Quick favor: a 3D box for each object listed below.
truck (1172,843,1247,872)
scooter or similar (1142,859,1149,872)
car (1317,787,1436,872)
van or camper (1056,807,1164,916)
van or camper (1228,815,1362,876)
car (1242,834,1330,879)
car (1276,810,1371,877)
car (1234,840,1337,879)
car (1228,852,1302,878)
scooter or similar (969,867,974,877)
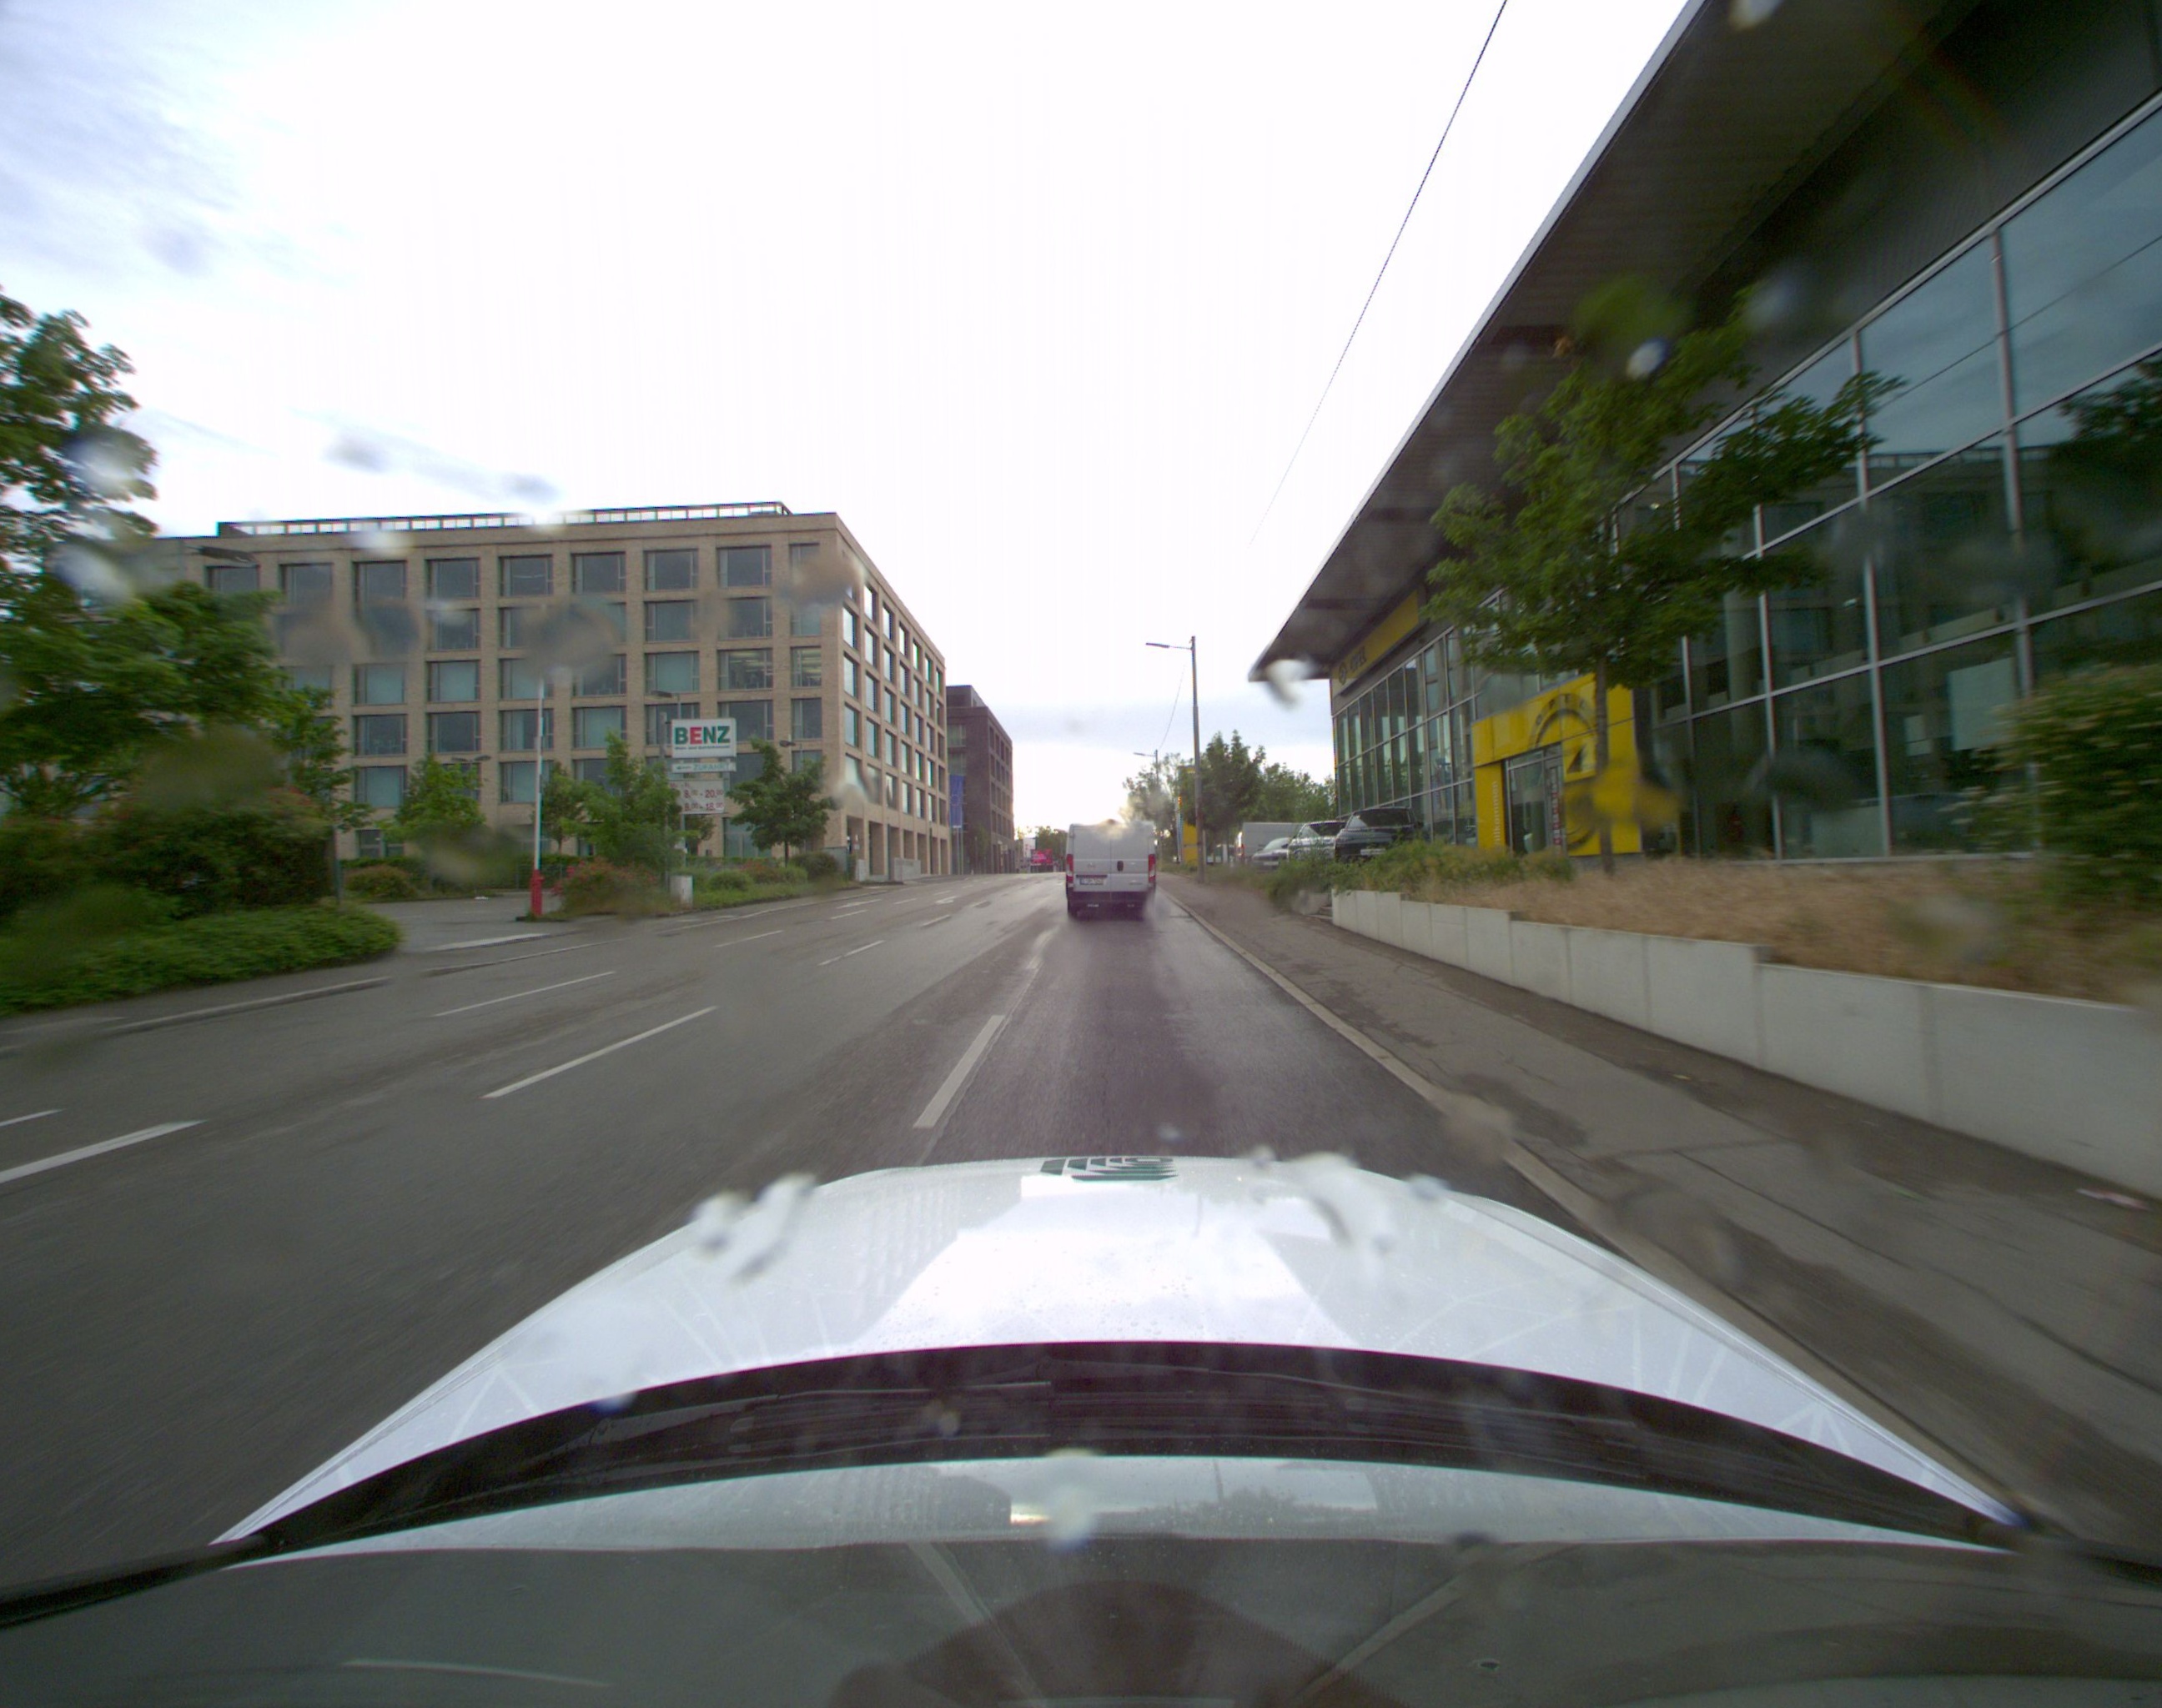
[{"bbox_3d":[9.326,0.231,59.373,5.131,2.013,2.345,-1,0,-1],"label":"truck"},{"bbox_3d":[7.594,1.328,95.966,0.436,1.564,1.264,0,-1,-20],"label":"scooter or similar"},{"bbox_3d":[7.268,-0.515,19.735,1.974,1.711,4.455,-4,-2,28],"label":"car"},{"bbox_3d":[0.771,0.173,20.443,2.330,2.357,5.203,-1,0,3],"label":"van or camper"},{"bbox_3d":[10.018,-0.384,38.479,5.715,2.724,2.353,-1,0,1],"label":"van or camper"},{"bbox_3d":[7.601,0.091,29.841,1.891,1.454,4.600,-4,-2,30],"label":"car"},{"bbox_3d":[7.387,-0.272,24.523,1.975,1.711,4.604,-4,-2,25],"label":"car"},{"bbox_3d":[8.653,0.201,34.310,4.542,1.454,1.893,-2,-2,-41],"label":"car"},{"bbox_3d":[10.794,0.628,48.029,3.971,1.428,1.896,-1,0,2],"label":"car"},{"bbox_3d":[-11.870,1.959,88.399,0.349,1.072,1.429,-1,-2,3],"label":"scooter or similar"}]
